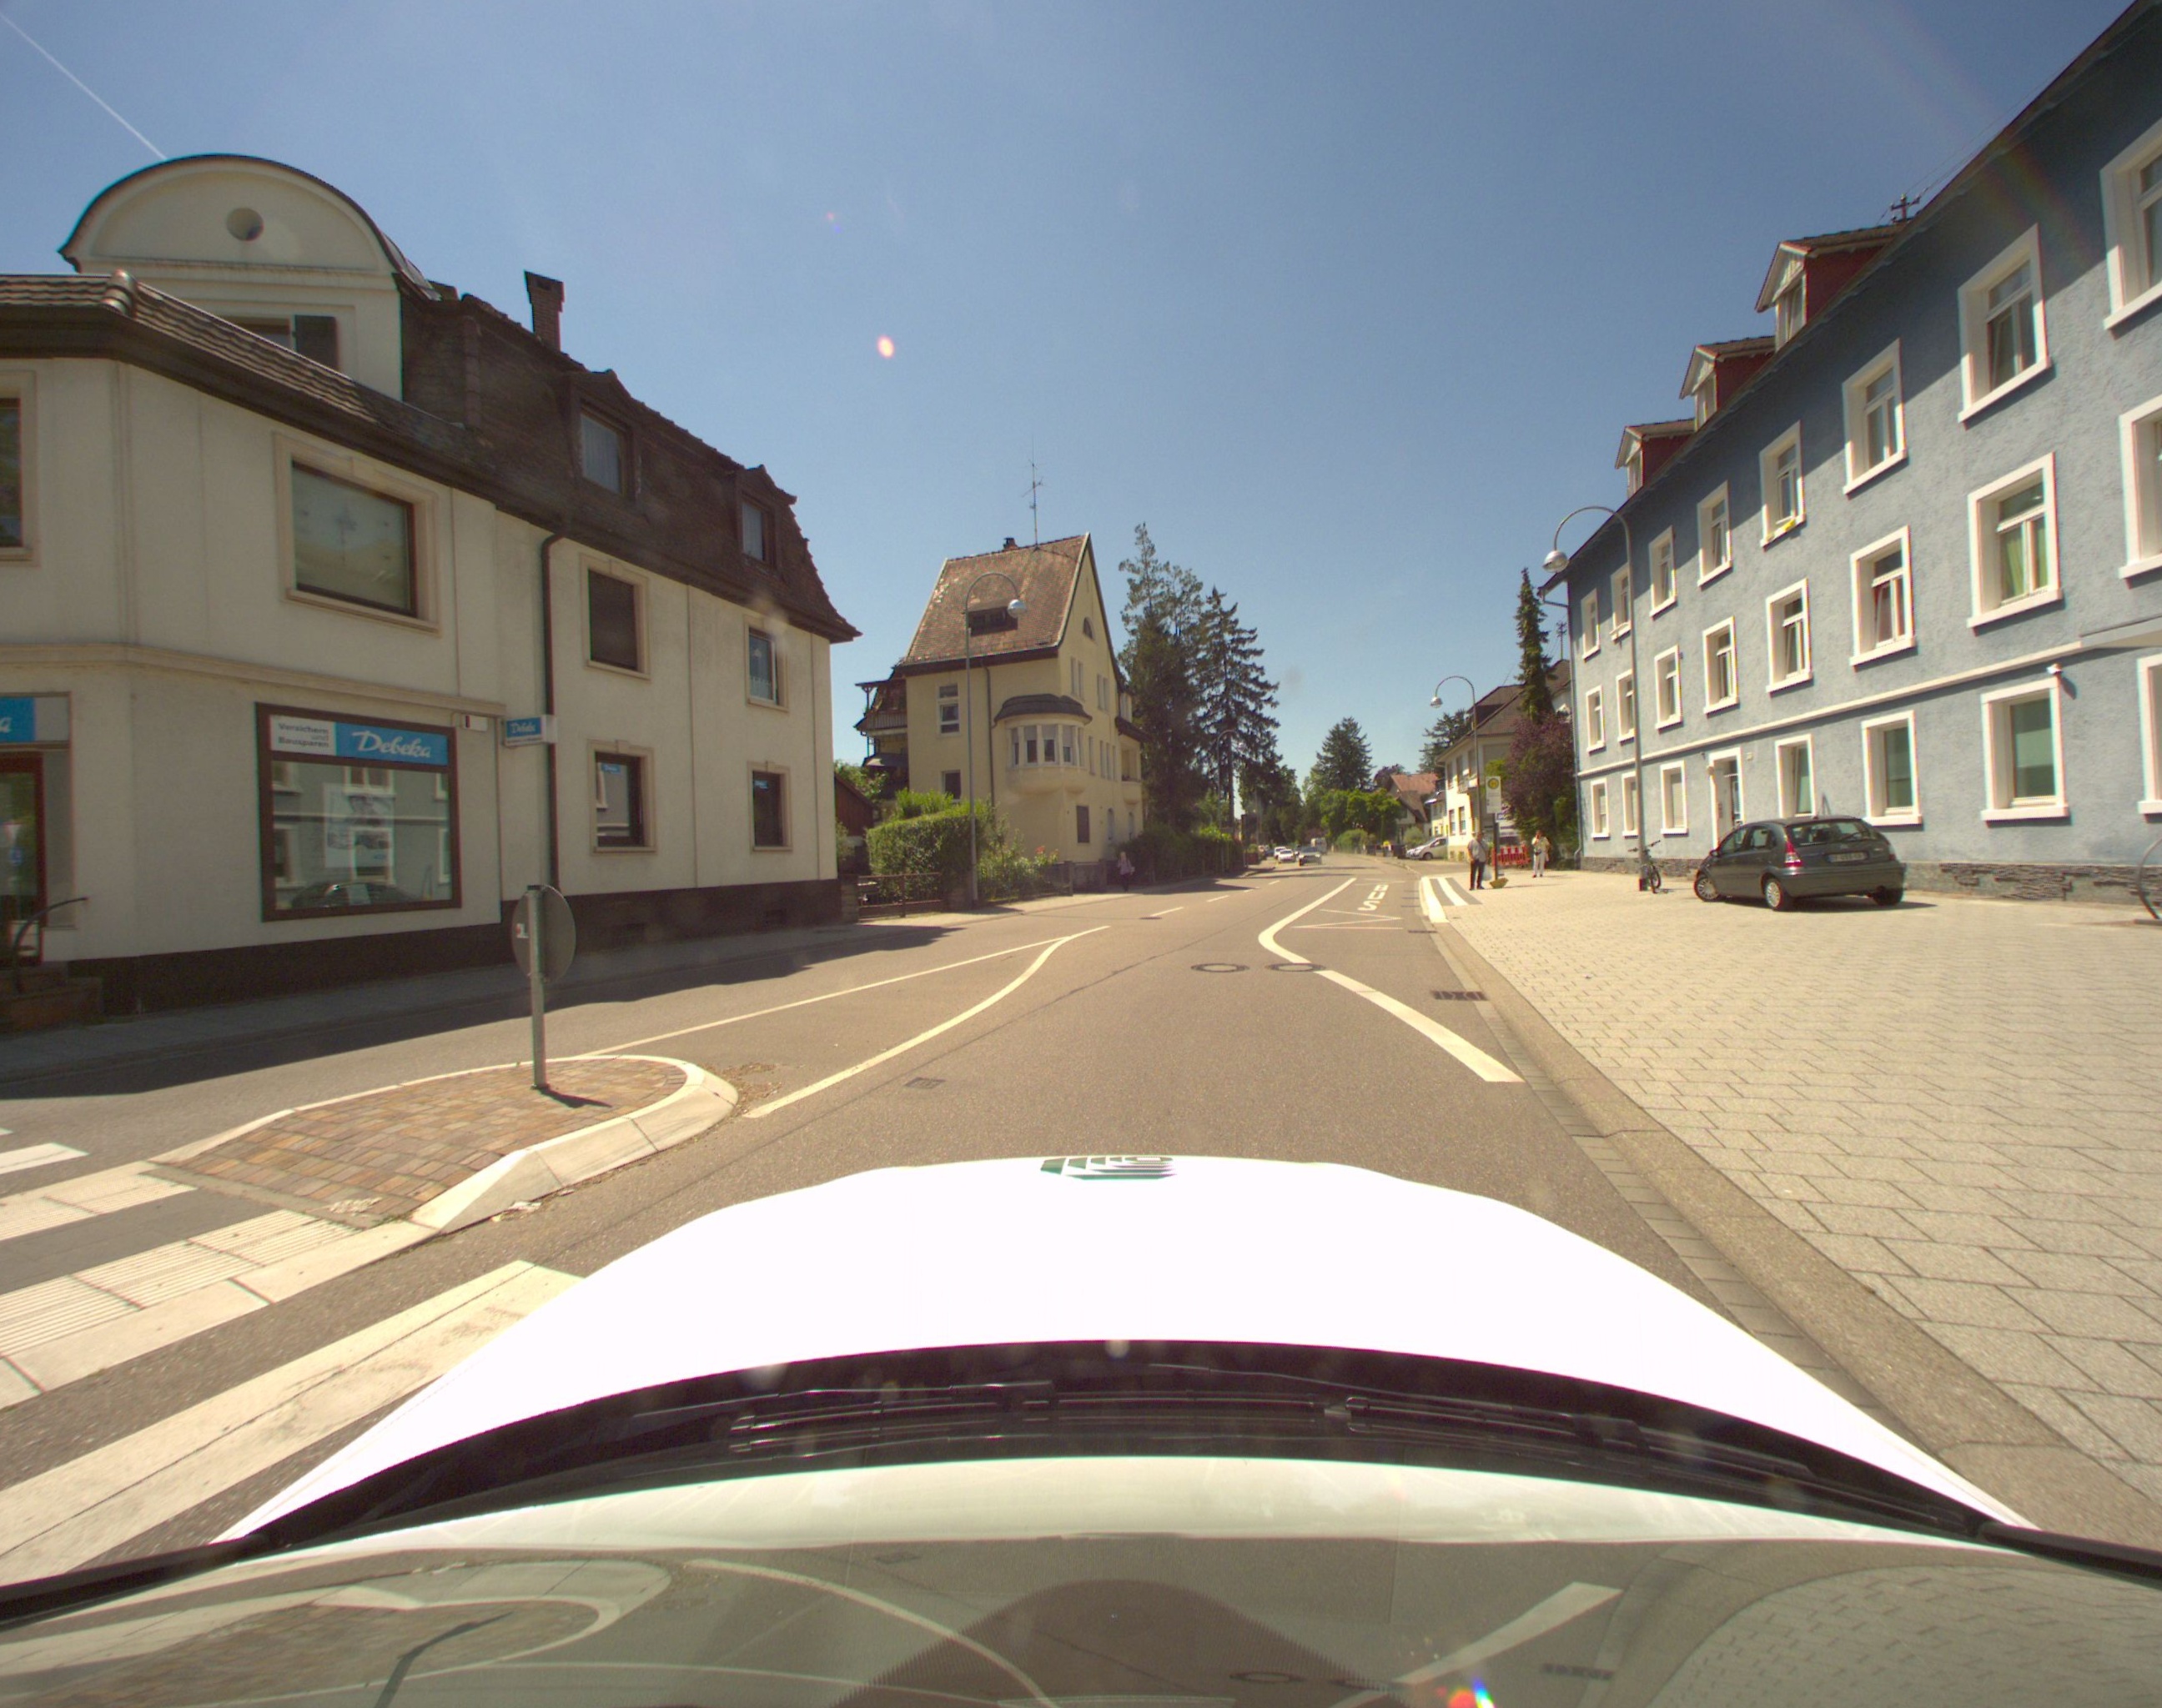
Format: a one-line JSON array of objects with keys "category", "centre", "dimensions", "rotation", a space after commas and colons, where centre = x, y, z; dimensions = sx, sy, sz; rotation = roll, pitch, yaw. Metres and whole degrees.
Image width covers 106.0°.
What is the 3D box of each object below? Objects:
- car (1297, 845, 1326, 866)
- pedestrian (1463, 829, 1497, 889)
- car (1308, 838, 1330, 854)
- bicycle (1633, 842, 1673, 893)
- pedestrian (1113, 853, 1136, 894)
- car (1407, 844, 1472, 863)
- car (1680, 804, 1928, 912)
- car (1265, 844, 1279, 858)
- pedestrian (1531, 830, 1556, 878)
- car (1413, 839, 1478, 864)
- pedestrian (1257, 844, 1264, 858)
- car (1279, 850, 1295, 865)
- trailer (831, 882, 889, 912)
[{"category": "car", "centre": [19.844, 0.092, 70.001], "dimensions": [1.837, 1.616, 4.320], "rotation": [-5, -1, 22]}, {"category": "pedestrian", "centre": [12.357, 0.159, 25.236], "dimensions": [0.610, 1.805, 0.753], "rotation": [-6, -2, 11]}, {"category": "car", "centre": [35.498, -1.199, 121.714], "dimensions": [2.133, 2.315, 4.861], "rotation": [-4, 0, 6]}, {"category": "bicycle", "centre": [13.171, 0.299, 18.767], "dimensions": [0.625, 1.039, 1.896], "rotation": [-6, -2, 35]}, {"category": "pedestrian", "centre": [1.691, 0.756, 31.882], "dimensions": [0.608, 1.564, 0.828], "rotation": [3, 1, 19]}, {"category": "car", "centre": [28.775, -0.054, 65.477], "dimensions": [4.604, 1.409, 1.777], "rotation": [1, 1, 16]}, {"category": "car", "centre": [12.505, 0.074, 14.434], "dimensions": [1.744, 1.514, 3.757], "rotation": [-6, -1, 16]}, {"category": "car", "centre": [27.453, -0.446, 117.312], "dimensions": [1.711, 1.736, 3.899], "rotation": [-5, -1, 11]}, {"category": "pedestrian", "centre": [16.199, -0.004, 28.537], "dimensions": [0.608, 1.616, 0.755], "rotation": [-5, -2, 32]}, {"category": "car", "centre": [28.080, -0.191, 62.841], "dimensions": [4.267, 1.831, 1.743], "rotation": [1, 1, 7]}, {"category": "pedestrian", "centre": [24.260, -0.428, 109.995], "dimensions": [0.684, 1.889, 1.023], "rotation": [2, 0, 17]}, {"category": "car", "centre": [22.244, 0.330, 88.056], "dimensions": [1.567, 1.423, 3.955], "rotation": [-5, 0, 13]}, {"category": "trailer", "centre": [-7.291, 1.375, 26.746], "dimensions": [1.361, 0.860, 2.793], "rotation": [-1, -1, -26]}]
